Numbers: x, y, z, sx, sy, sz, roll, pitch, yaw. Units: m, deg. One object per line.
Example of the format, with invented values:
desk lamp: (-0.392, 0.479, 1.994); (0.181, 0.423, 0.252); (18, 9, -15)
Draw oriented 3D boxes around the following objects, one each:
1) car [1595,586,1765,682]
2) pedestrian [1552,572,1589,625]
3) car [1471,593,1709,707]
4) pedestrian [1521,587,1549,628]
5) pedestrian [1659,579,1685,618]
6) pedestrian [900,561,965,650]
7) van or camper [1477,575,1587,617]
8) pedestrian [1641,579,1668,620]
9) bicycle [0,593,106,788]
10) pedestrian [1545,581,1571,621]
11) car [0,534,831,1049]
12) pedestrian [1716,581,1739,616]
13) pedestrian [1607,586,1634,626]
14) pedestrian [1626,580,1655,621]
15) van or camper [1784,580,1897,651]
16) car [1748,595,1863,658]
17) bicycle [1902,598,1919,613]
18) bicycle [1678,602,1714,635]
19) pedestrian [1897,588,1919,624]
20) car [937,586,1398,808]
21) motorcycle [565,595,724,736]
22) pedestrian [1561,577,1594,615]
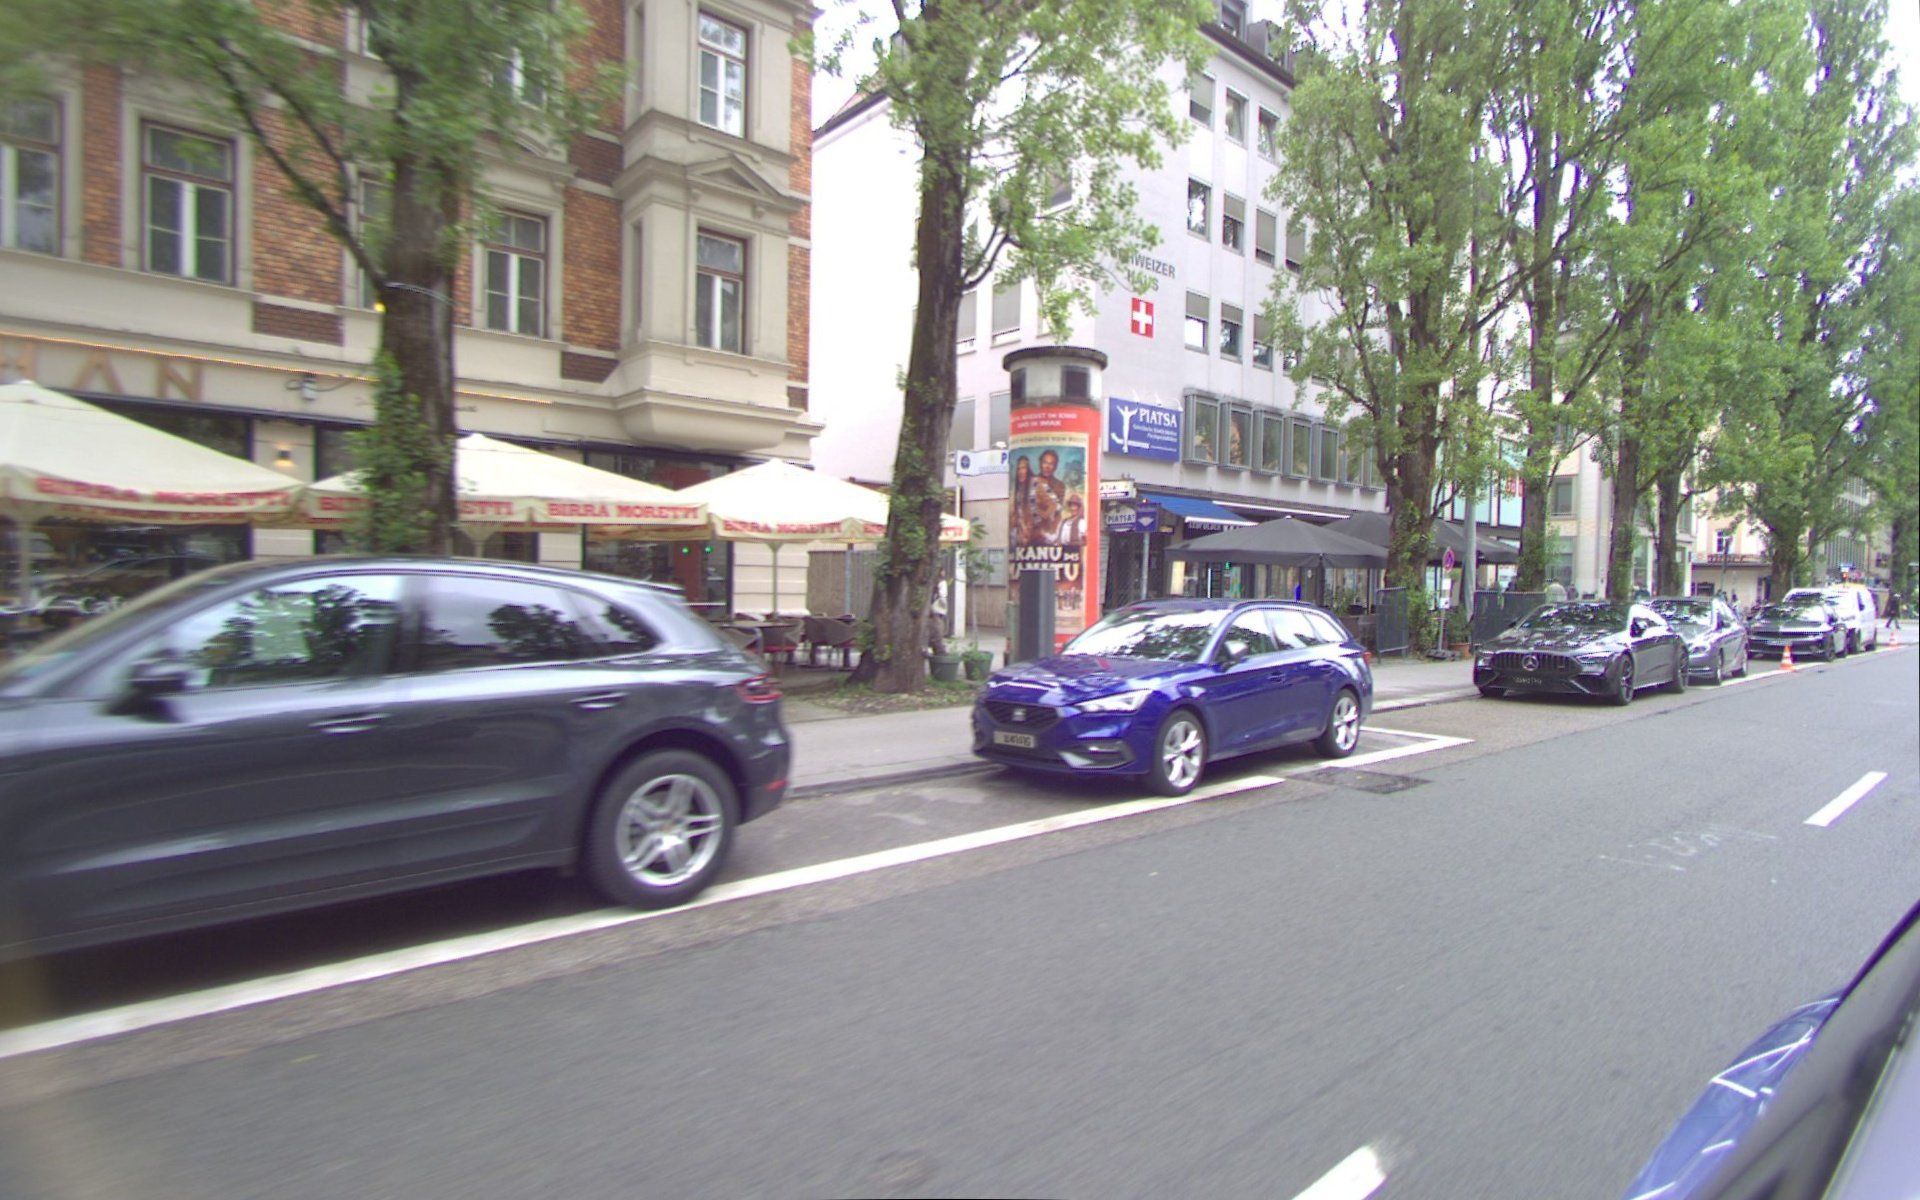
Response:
car: (13.341, 0.538, 18.659); (4.163, 1.525, 1.818); (0, 2, -44)
pedestrian: (21.882, -0.059, 36.277); (1.080, 1.864, 0.828); (0, 1, -41)
car: (9.799, 0.642, 15.565); (4.722, 1.450, 1.881); (0, 2, -42)
pedestrian: (25.082, 0.318, 44.112); (0.946, 1.739, 0.751); (0, 1, -40)
pedestrian: (34.082, -0.081, 48.464); (0.875, 1.840, 0.819); (0, 1, -42)
pedestrian: (-0.519, 0.087, 19.081); (0.973, 1.629, 0.730); (0, 1, -40)
van or camper: (26.882, -0.197, 47.677); (1.863, 1.890, 4.116); (0, 1, -36)
pedestrian: (30.837, -0.030, 44.953); (0.844, 1.779, 0.752); (-2, 3, -39)
bicycle: (-6.690, 0.581, 7.372); (0.566, 1.207, 1.871); (0, 2, -45)
pedestrian: (25.647, 0.028, 43.379); (0.946, 1.683, 0.653); (0, 1, -40)
car: (-2.960, 0.551, 4.419); (4.406, 1.584, 1.997); (0, 2, -42)
pedestrian: (40.846, -0.077, 53.849); (0.875, 1.840, 0.819); (0, 1, -42)
pedestrian: (29.213, 0.274, 44.746); (0.945, 1.739, 0.752); (1, 1, -39)
pedestrian: (29.285, 0.011, 43.548); (0.945, 1.698, 0.752); (0, 1, -39)
van or camper: (25.804, 0.389, 29.604); (4.818, 1.906, 1.872); (0, 1, -41)
car: (21.485, 0.615, 25.657); (4.280, 1.460, 1.721); (0, 0, -43)
bicycle: (68.657, 0.392, 72.941); (1.774, 1.084, 0.406); (0, -4, -25)
bicycle: (24.386, 0.604, 33.528); (1.697, 1.051, 0.366); (0, 1, -33)
pedestrian: (48.801, 0.299, 52.119); (0.739, 1.780, 0.710); (0, 1, -39)
car: (2.013, 0.625, 8.844); (4.390, 1.422, 1.752); (0, 2, -44)
motorcycle: (-3.100, 0.577, 9.851); (1.830, 1.194, 0.685); (2, 2, 44)
pedestrian: (28.454, -0.188, 46.638); (0.808, 1.694, 0.989); (1, 1, -23)
